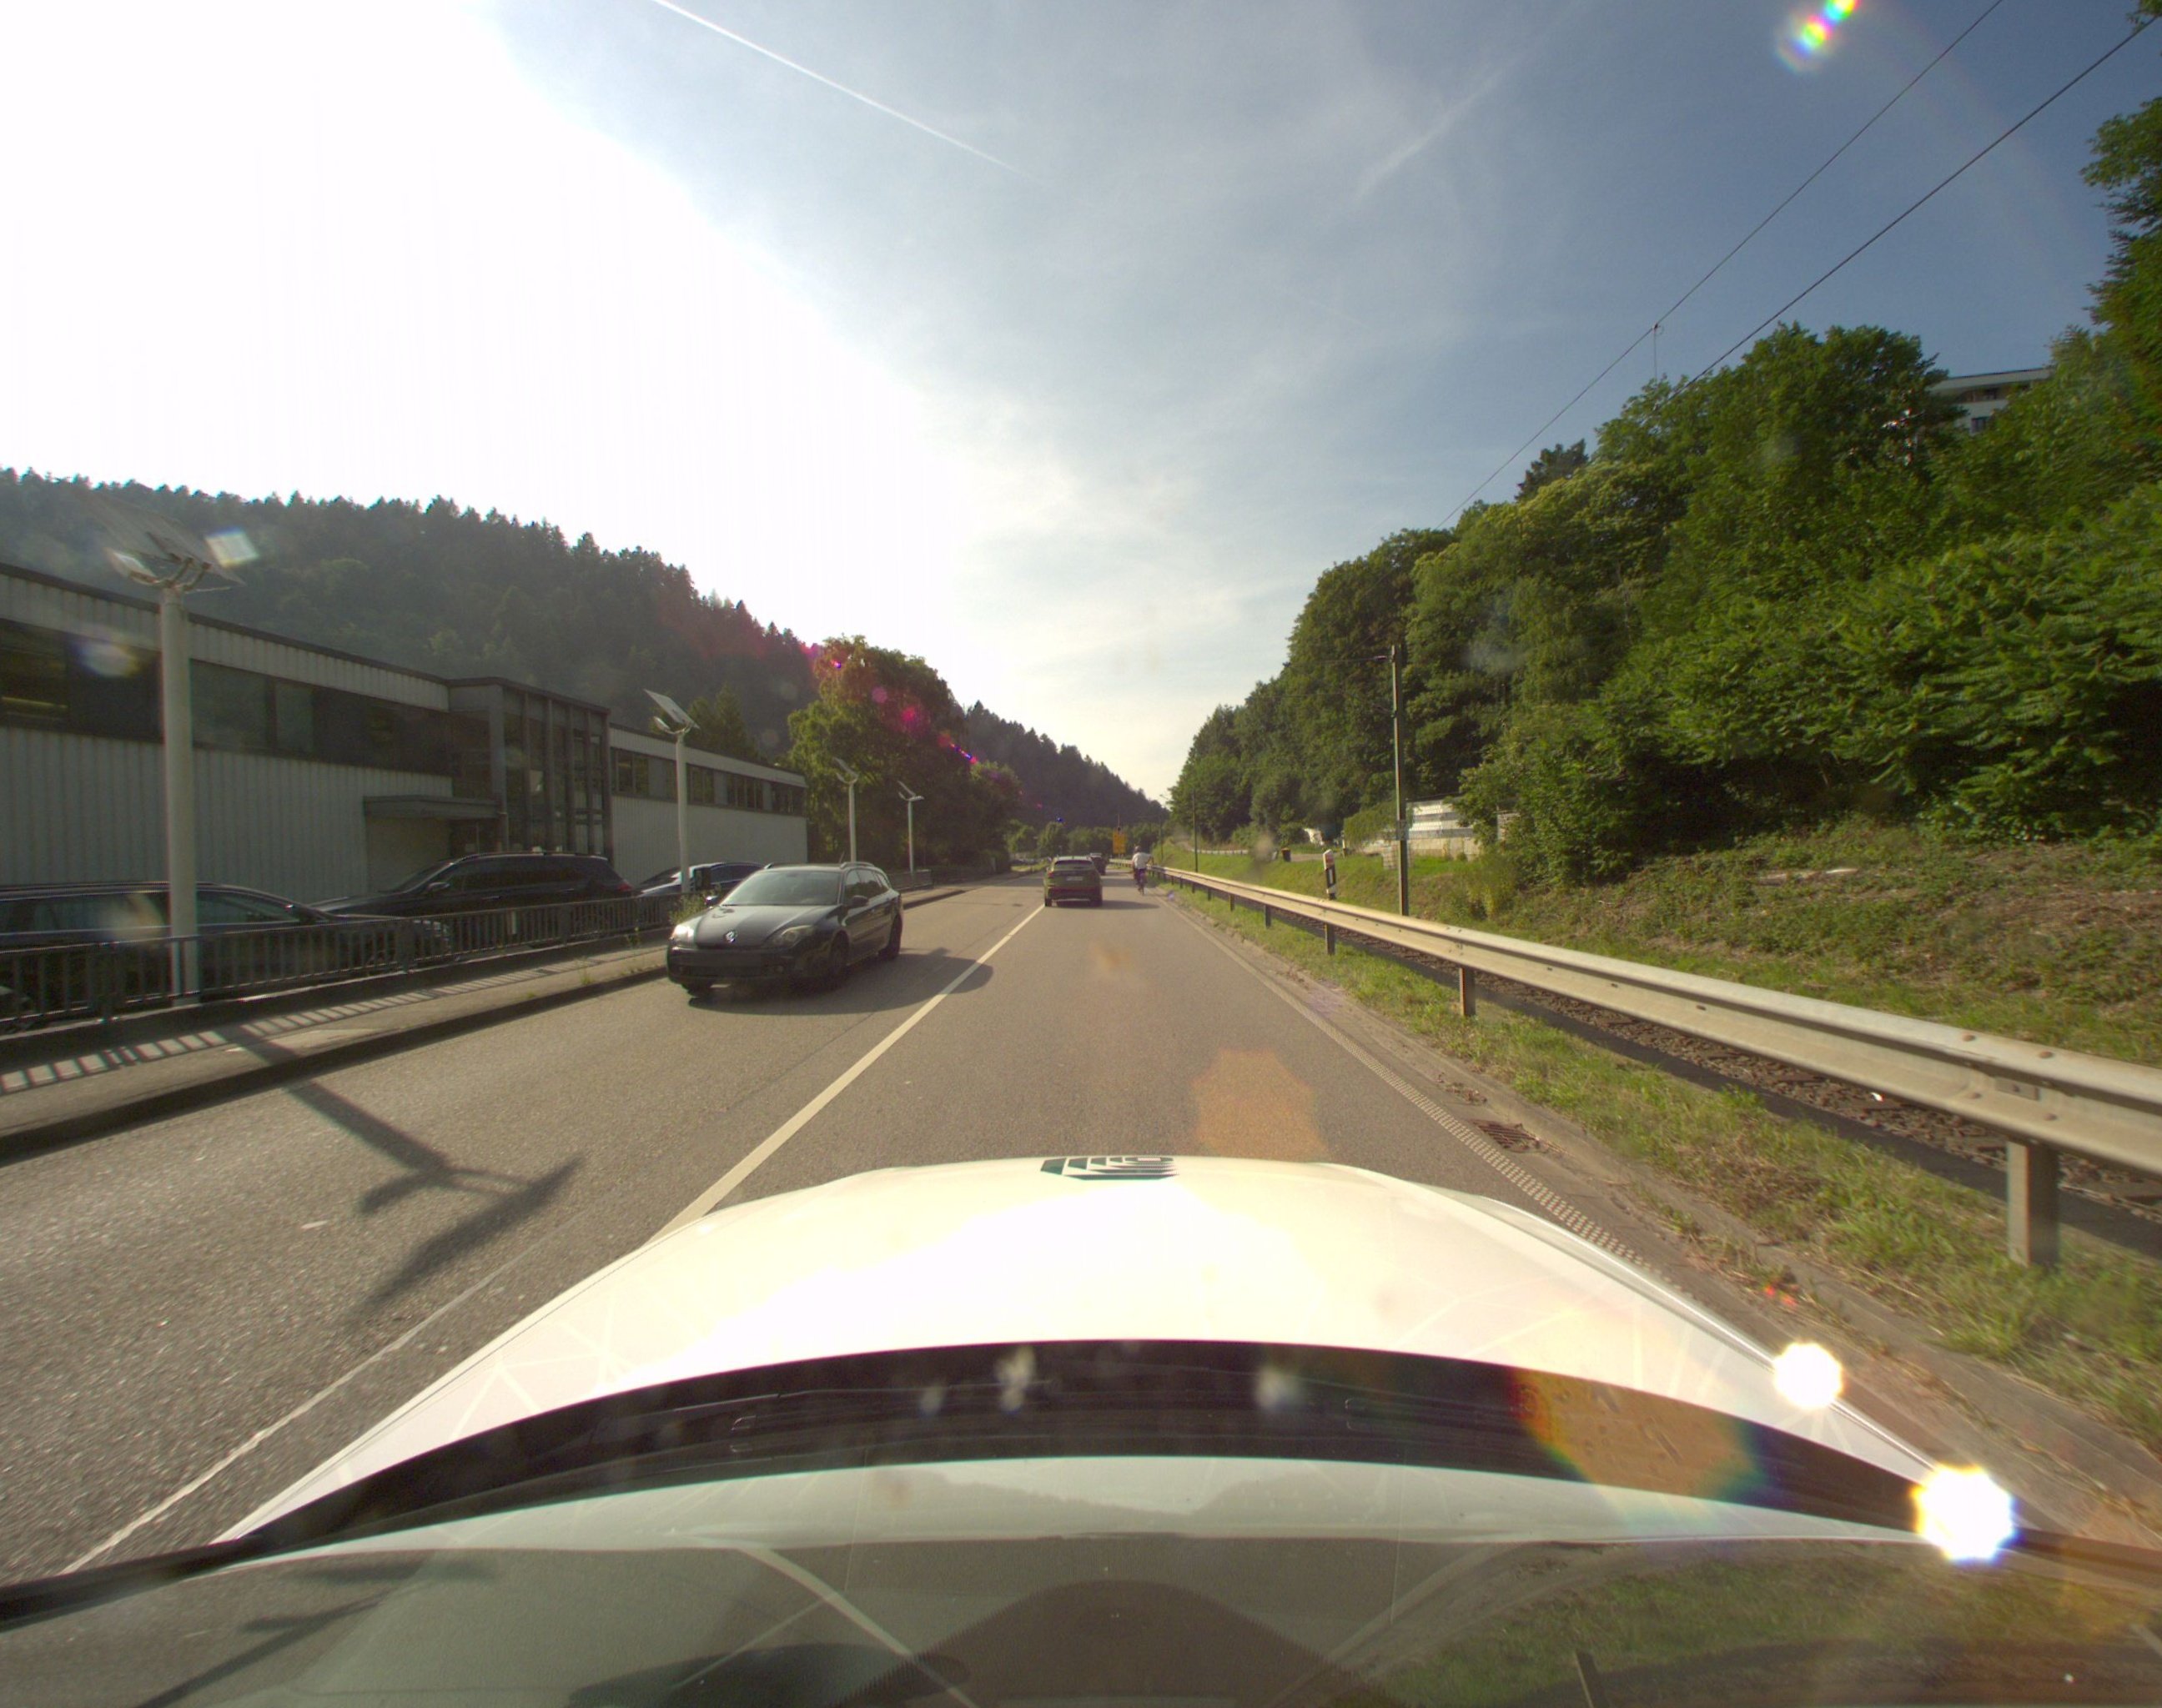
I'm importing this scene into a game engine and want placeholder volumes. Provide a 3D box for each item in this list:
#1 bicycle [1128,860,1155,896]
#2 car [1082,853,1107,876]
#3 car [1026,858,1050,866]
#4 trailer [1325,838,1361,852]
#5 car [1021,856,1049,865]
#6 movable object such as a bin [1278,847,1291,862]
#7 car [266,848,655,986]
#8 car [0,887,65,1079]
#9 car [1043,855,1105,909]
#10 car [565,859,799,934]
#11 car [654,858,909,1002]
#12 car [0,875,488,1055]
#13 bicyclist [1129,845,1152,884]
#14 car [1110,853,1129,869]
[{"bbox_3d":[2.215,0.865,30.251,0.809,1.250,2.122,-2,0,0],"label":"bicycle"},{"bbox_3d":[0.975,0.750,60.065,1.733,1.602,4.000,-1,0,0],"label":"car"},{"bbox_3d":[-7.985,1.470,151.920,4.243,1.433,1.557,-2,0,2],"label":"car"},{"bbox_3d":[24.329,-0.817,75.715,2.060,1.192,3.713,-1,-1,-1],"label":"trailer"},{"bbox_3d":[-7.373,1.066,131.153,4.243,1.433,1.557,-2,0,2],"label":"car"},{"bbox_3d":[15.368,0.008,61.517,0.850,1.107,0.936,-2,0,7],"label":"movable object such as a bin"},{"bbox_3d":[-10.025,0.873,13.591,1.974,1.741,4.721,-2,1,34],"label":"car"},{"bbox_3d":[-9.685,1.012,4.577,1.690,1.375,4.765,-2,0,31],"label":"car"},{"bbox_3d":[-0.173,0.794,25.247,1.733,1.508,4.000,-1,0,0],"label":"car"},{"bbox_3d":[-9.447,0.937,19.787,1.975,1.562,4.882,-2,-1,26],"label":"car"},{"bbox_3d":[-3.584,0.803,10.657,1.671,1.485,4.247,0,0,1],"label":"car"},{"bbox_3d":[-9.582,1.055,8.838,1.690,1.439,4.765,-2,0,31],"label":"car"},{"bbox_3d":[2.197,0.386,30.130,0.779,1.412,0.675,-2,0,-1],"label":"bicyclist"},{"bbox_3d":[4.039,0.711,85.676,1.733,1.602,4.000,-3,0,0],"label":"car"}]
